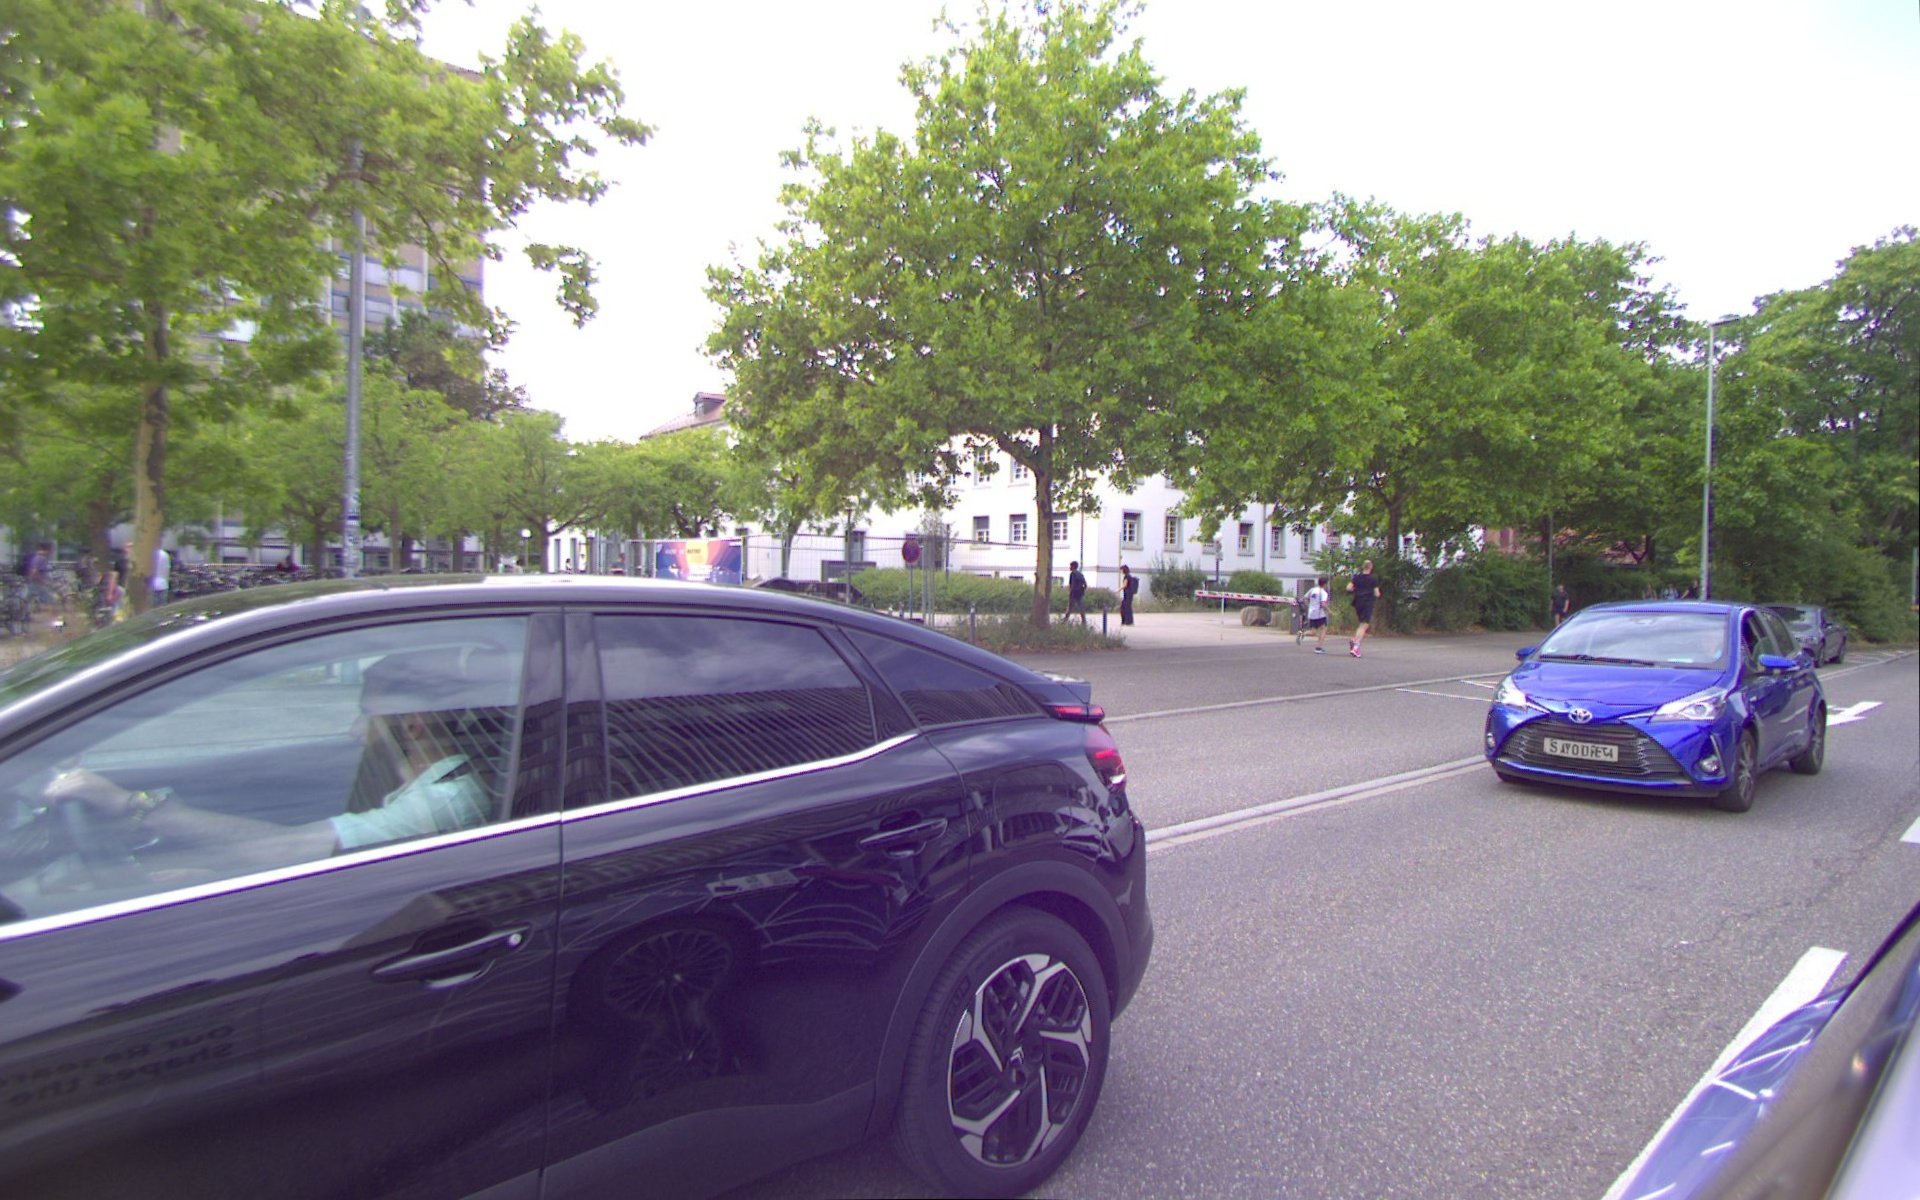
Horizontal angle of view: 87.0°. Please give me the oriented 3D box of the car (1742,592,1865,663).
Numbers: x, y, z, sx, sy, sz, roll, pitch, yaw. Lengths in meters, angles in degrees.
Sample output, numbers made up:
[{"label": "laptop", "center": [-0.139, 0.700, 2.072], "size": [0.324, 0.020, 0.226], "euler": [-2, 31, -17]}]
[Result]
[{"label": "car", "center": [20.471, 0.601, 24.505], "size": [3.948, 1.480, 1.606], "euler": [0, 4, -41]}]

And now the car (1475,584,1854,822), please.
[{"label": "car", "center": [5.964, 0.649, 8.415], "size": [3.765, 1.512, 1.702], "euler": [0, 1, -41]}]

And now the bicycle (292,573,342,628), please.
[{"label": "bicycle", "center": [-14.361, -0.014, 22.582], "size": [0.705, 1.156, 2.472], "euler": [0, 1, -38]}]

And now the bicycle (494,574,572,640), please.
[{"label": "bicycle", "center": [-7.985, 0.096, 18.861], "size": [0.705, 1.156, 2.472], "euler": [0, 1, -38]}]

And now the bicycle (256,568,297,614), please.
[{"label": "bicycle", "center": [-17.863, -0.250, 26.433], "size": [0.705, 1.156, 2.472], "euler": [0, 1, -38]}]

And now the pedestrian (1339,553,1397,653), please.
[{"label": "pedestrian", "center": [8.207, 0.040, 20.354], "size": [0.747, 1.958, 0.797], "euler": [0, 1, -41]}]

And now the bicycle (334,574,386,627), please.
[{"label": "bicycle", "center": [-13.731, -0.019, 23.109], "size": [0.705, 1.156, 2.472], "euler": [0, 1, -38]}]

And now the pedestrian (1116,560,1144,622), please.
[{"label": "pedestrian", "center": [4.916, -0.268, 29.313], "size": [0.583, 1.774, 0.531], "euler": [0, 1, -36]}]

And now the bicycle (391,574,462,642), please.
[{"label": "bicycle", "center": [-9.665, 0.109, 18.283], "size": [0.705, 1.156, 2.472], "euler": [0, 1, -38]}]

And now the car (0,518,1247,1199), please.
[{"label": "car", "center": [-1.333, 0.688, 2.289], "size": [4.100, 1.576, 1.803], "euler": [0, 0, -39]}]

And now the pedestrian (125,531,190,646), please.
[{"label": "pedestrian", "center": [-14.117, -0.198, 17.810], "size": [0.675, 1.988, 0.600], "euler": [0, 0, 11]}]

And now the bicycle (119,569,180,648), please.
[{"label": "bicycle", "center": [-12.740, 0.100, 15.951], "size": [0.705, 1.156, 2.472], "euler": [0, 1, -38]}]

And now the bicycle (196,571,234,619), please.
[{"label": "bicycle", "center": [-18.858, -0.158, 25.597], "size": [0.705, 1.156, 2.472], "euler": [0, 1, -38]}]

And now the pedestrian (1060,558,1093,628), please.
[{"label": "pedestrian", "center": [2.959, -0.178, 25.686], "size": [0.583, 1.761, 0.586], "euler": [0, 1, -39]}]

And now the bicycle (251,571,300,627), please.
[{"label": "bicycle", "center": [-14.962, -0.046, 22.101], "size": [0.705, 1.156, 2.472], "euler": [0, 1, -38]}]

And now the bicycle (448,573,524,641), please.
[{"label": "bicycle", "center": [-8.657, 0.093, 18.413], "size": [0.705, 1.156, 2.472], "euler": [0, 1, -38]}]

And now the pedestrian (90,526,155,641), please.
[{"label": "pedestrian", "center": [-14.844, -0.291, 17.947], "size": [0.675, 1.988, 0.600], "euler": [0, 0, 11]}]

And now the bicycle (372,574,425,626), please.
[{"label": "bicycle", "center": [-13.115, -0.027, 23.615], "size": [0.705, 1.156, 2.472], "euler": [0, 1, -38]}]

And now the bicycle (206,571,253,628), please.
[{"label": "bicycle", "center": [-15.595, -0.035, 21.585], "size": [0.705, 1.156, 2.472], "euler": [0, 1, -38]}]

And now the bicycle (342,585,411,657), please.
[{"label": "bicycle", "center": [-10.246, 0.321, 17.735], "size": [0.705, 1.156, 2.472], "euler": [0, 1, -38]}]

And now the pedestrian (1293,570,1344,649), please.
[{"label": "pedestrian", "center": [7.383, 0.188, 20.839], "size": [0.790, 1.585, 0.646], "euler": [0, 1, -39]}]

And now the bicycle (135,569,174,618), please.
[{"label": "bicycle", "center": [-19.764, -0.186, 24.848], "size": [0.705, 1.156, 2.472], "euler": [0, 1, -38]}]

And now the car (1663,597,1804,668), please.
[{"label": "car", "center": [16.903, 0.660, 22.071], "size": [3.765, 1.386, 1.702], "euler": [1, 1, -41]}]
